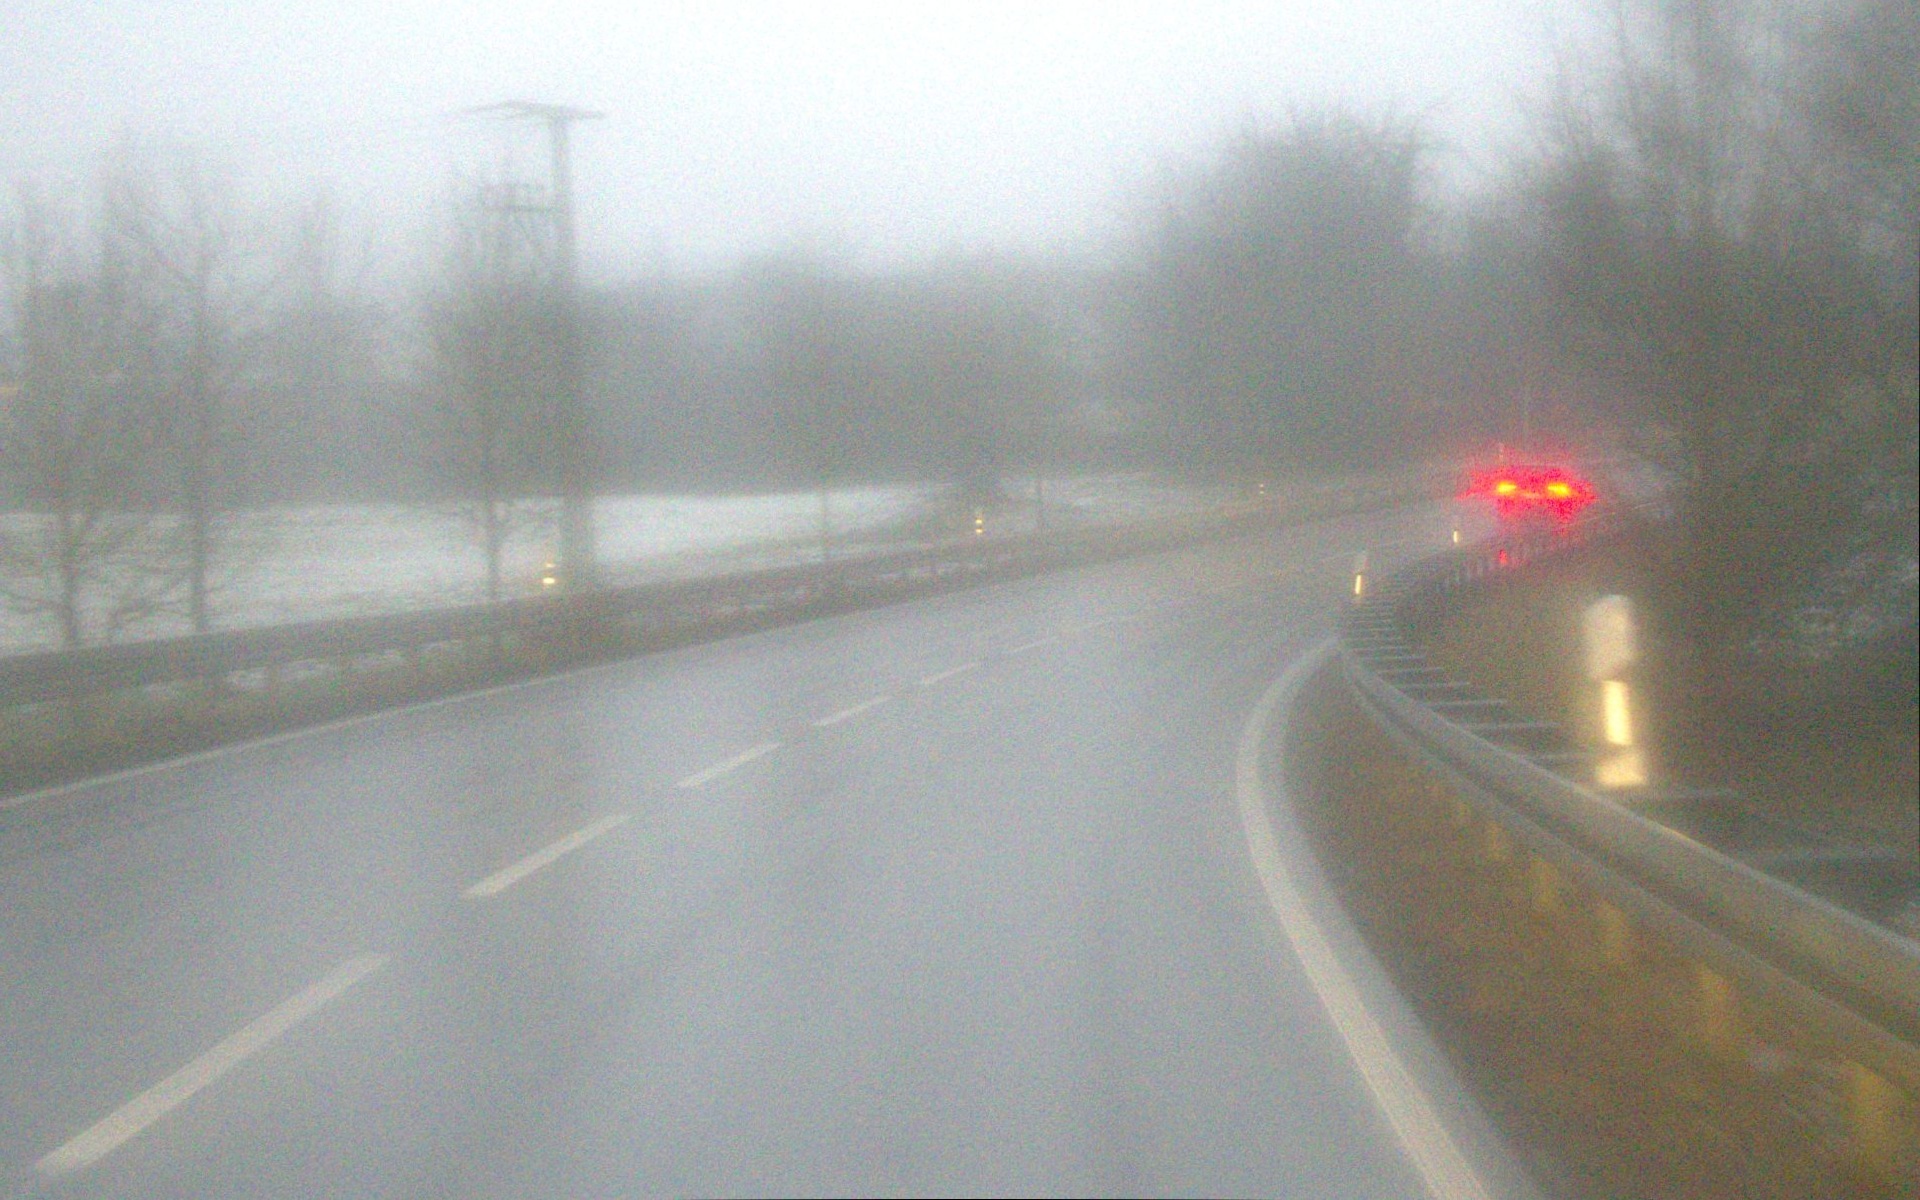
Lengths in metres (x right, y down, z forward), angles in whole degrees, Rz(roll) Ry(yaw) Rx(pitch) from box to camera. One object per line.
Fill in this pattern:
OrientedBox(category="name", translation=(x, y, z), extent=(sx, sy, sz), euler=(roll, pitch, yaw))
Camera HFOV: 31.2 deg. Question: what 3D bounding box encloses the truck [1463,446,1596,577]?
OrientedBox(category="truck", translation=(14.001, -2.211, 84.187), extent=(2.534, 2.859, 5.919), euler=(-1, 4, 16))
